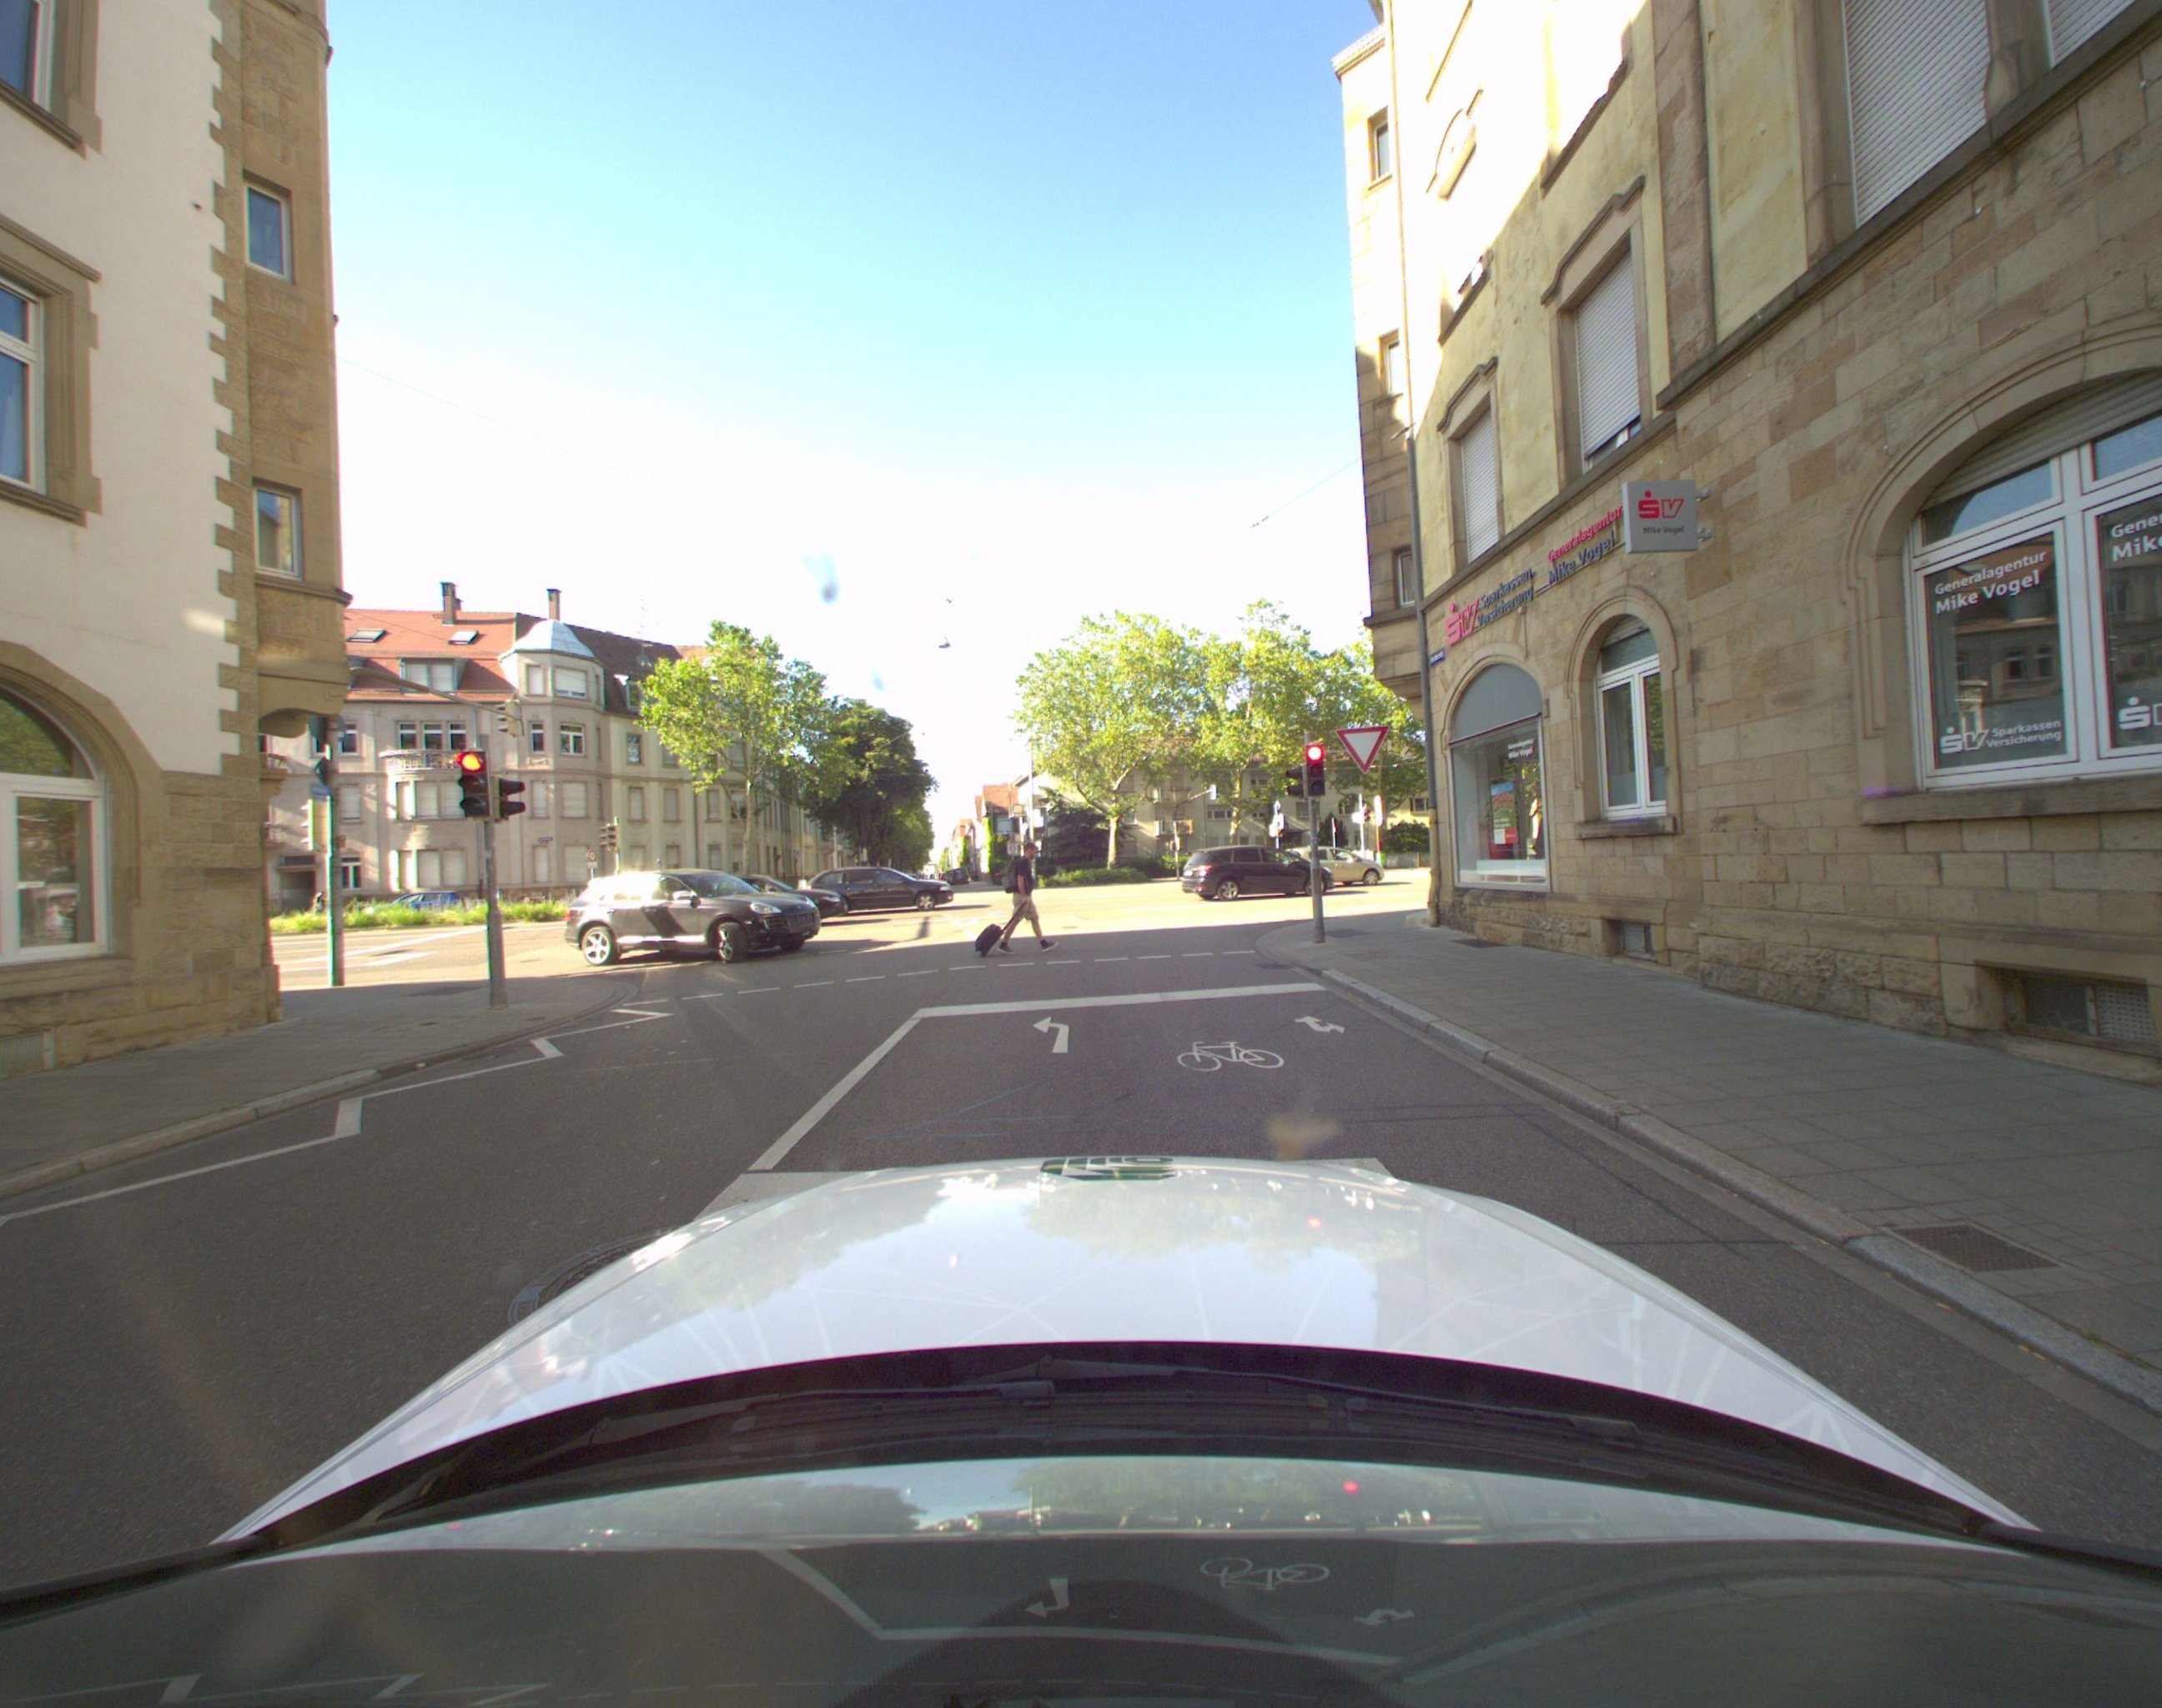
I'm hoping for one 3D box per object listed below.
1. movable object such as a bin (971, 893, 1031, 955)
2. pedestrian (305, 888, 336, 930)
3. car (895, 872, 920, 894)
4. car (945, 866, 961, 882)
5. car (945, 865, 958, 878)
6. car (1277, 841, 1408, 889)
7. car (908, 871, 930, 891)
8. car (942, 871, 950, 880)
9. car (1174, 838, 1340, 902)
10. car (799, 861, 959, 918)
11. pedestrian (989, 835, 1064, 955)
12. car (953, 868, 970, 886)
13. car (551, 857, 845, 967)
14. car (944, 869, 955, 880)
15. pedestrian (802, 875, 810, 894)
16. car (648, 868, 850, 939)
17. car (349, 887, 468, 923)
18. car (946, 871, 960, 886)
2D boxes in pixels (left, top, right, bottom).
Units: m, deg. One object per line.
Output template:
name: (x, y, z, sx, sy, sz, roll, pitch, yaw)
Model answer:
movable object such as a bin: (-1.277, 1.097, 12.891, 0.862, 0.892, 0.507, -3, 0, -11)
pedestrian: (-37.549, 2.709, 40.208, 0.836, 2.014, 0.749, 0, -1, -15)
car: (-13.590, 2.271, 63.827, 1.698, 1.483, 3.522, -4, 0, -10)
car: (-16.556, 2.560, 105.213, 1.773, 1.918, 3.522, -4, 0, -10)
car: (-20.511, 2.808, 128.680, 1.993, 2.014, 3.987, 0, -1, -9)
car: (9.385, 0.379, 29.272, 4.207, 1.456, 1.670, -3, 0, -14)
car: (-13.934, 2.328, 70.086, 1.698, 1.483, 3.522, -4, 0, -10)
car: (-30.110, 4.832, 181.739, 1.773, 1.918, 3.522, -4, 0, -10)
car: (5.382, 0.468, 25.036, 4.667, 1.664, 1.722, -3, 0, -14)
car: (-6.232, 1.059, 25.538, 4.620, 1.456, 1.974, -3, 0, -11)
pedestrian: (-0.900, 0.644, 13.323, 1.066, 1.848, 0.746, -3, 0, -11)
car: (-13.946, 2.707, 95.023, 1.773, 1.918, 3.522, -4, 0, -10)
car: (-7.162, 1.064, 15.393, 4.659, 1.693, 2.087, -4, 0, 14)
car: (-23.738, 3.720, 147.195, 1.773, 1.918, 3.522, -4, 0, -10)
pedestrian: (-21.214, 2.348, 62.889, 0.489, 1.442, 0.702, 0, -1, -13)
car: (-8.591, 1.245, 21.473, 4.623, 1.456, 1.722, -3, 0, -13)
car: (-30.750, 2.314, 37.358, 3.790, 1.400, 1.636, -2, 0, -18)
car: (-18.262, 3.428, 116.209, 1.993, 2.014, 3.987, 0, -1, -9)
